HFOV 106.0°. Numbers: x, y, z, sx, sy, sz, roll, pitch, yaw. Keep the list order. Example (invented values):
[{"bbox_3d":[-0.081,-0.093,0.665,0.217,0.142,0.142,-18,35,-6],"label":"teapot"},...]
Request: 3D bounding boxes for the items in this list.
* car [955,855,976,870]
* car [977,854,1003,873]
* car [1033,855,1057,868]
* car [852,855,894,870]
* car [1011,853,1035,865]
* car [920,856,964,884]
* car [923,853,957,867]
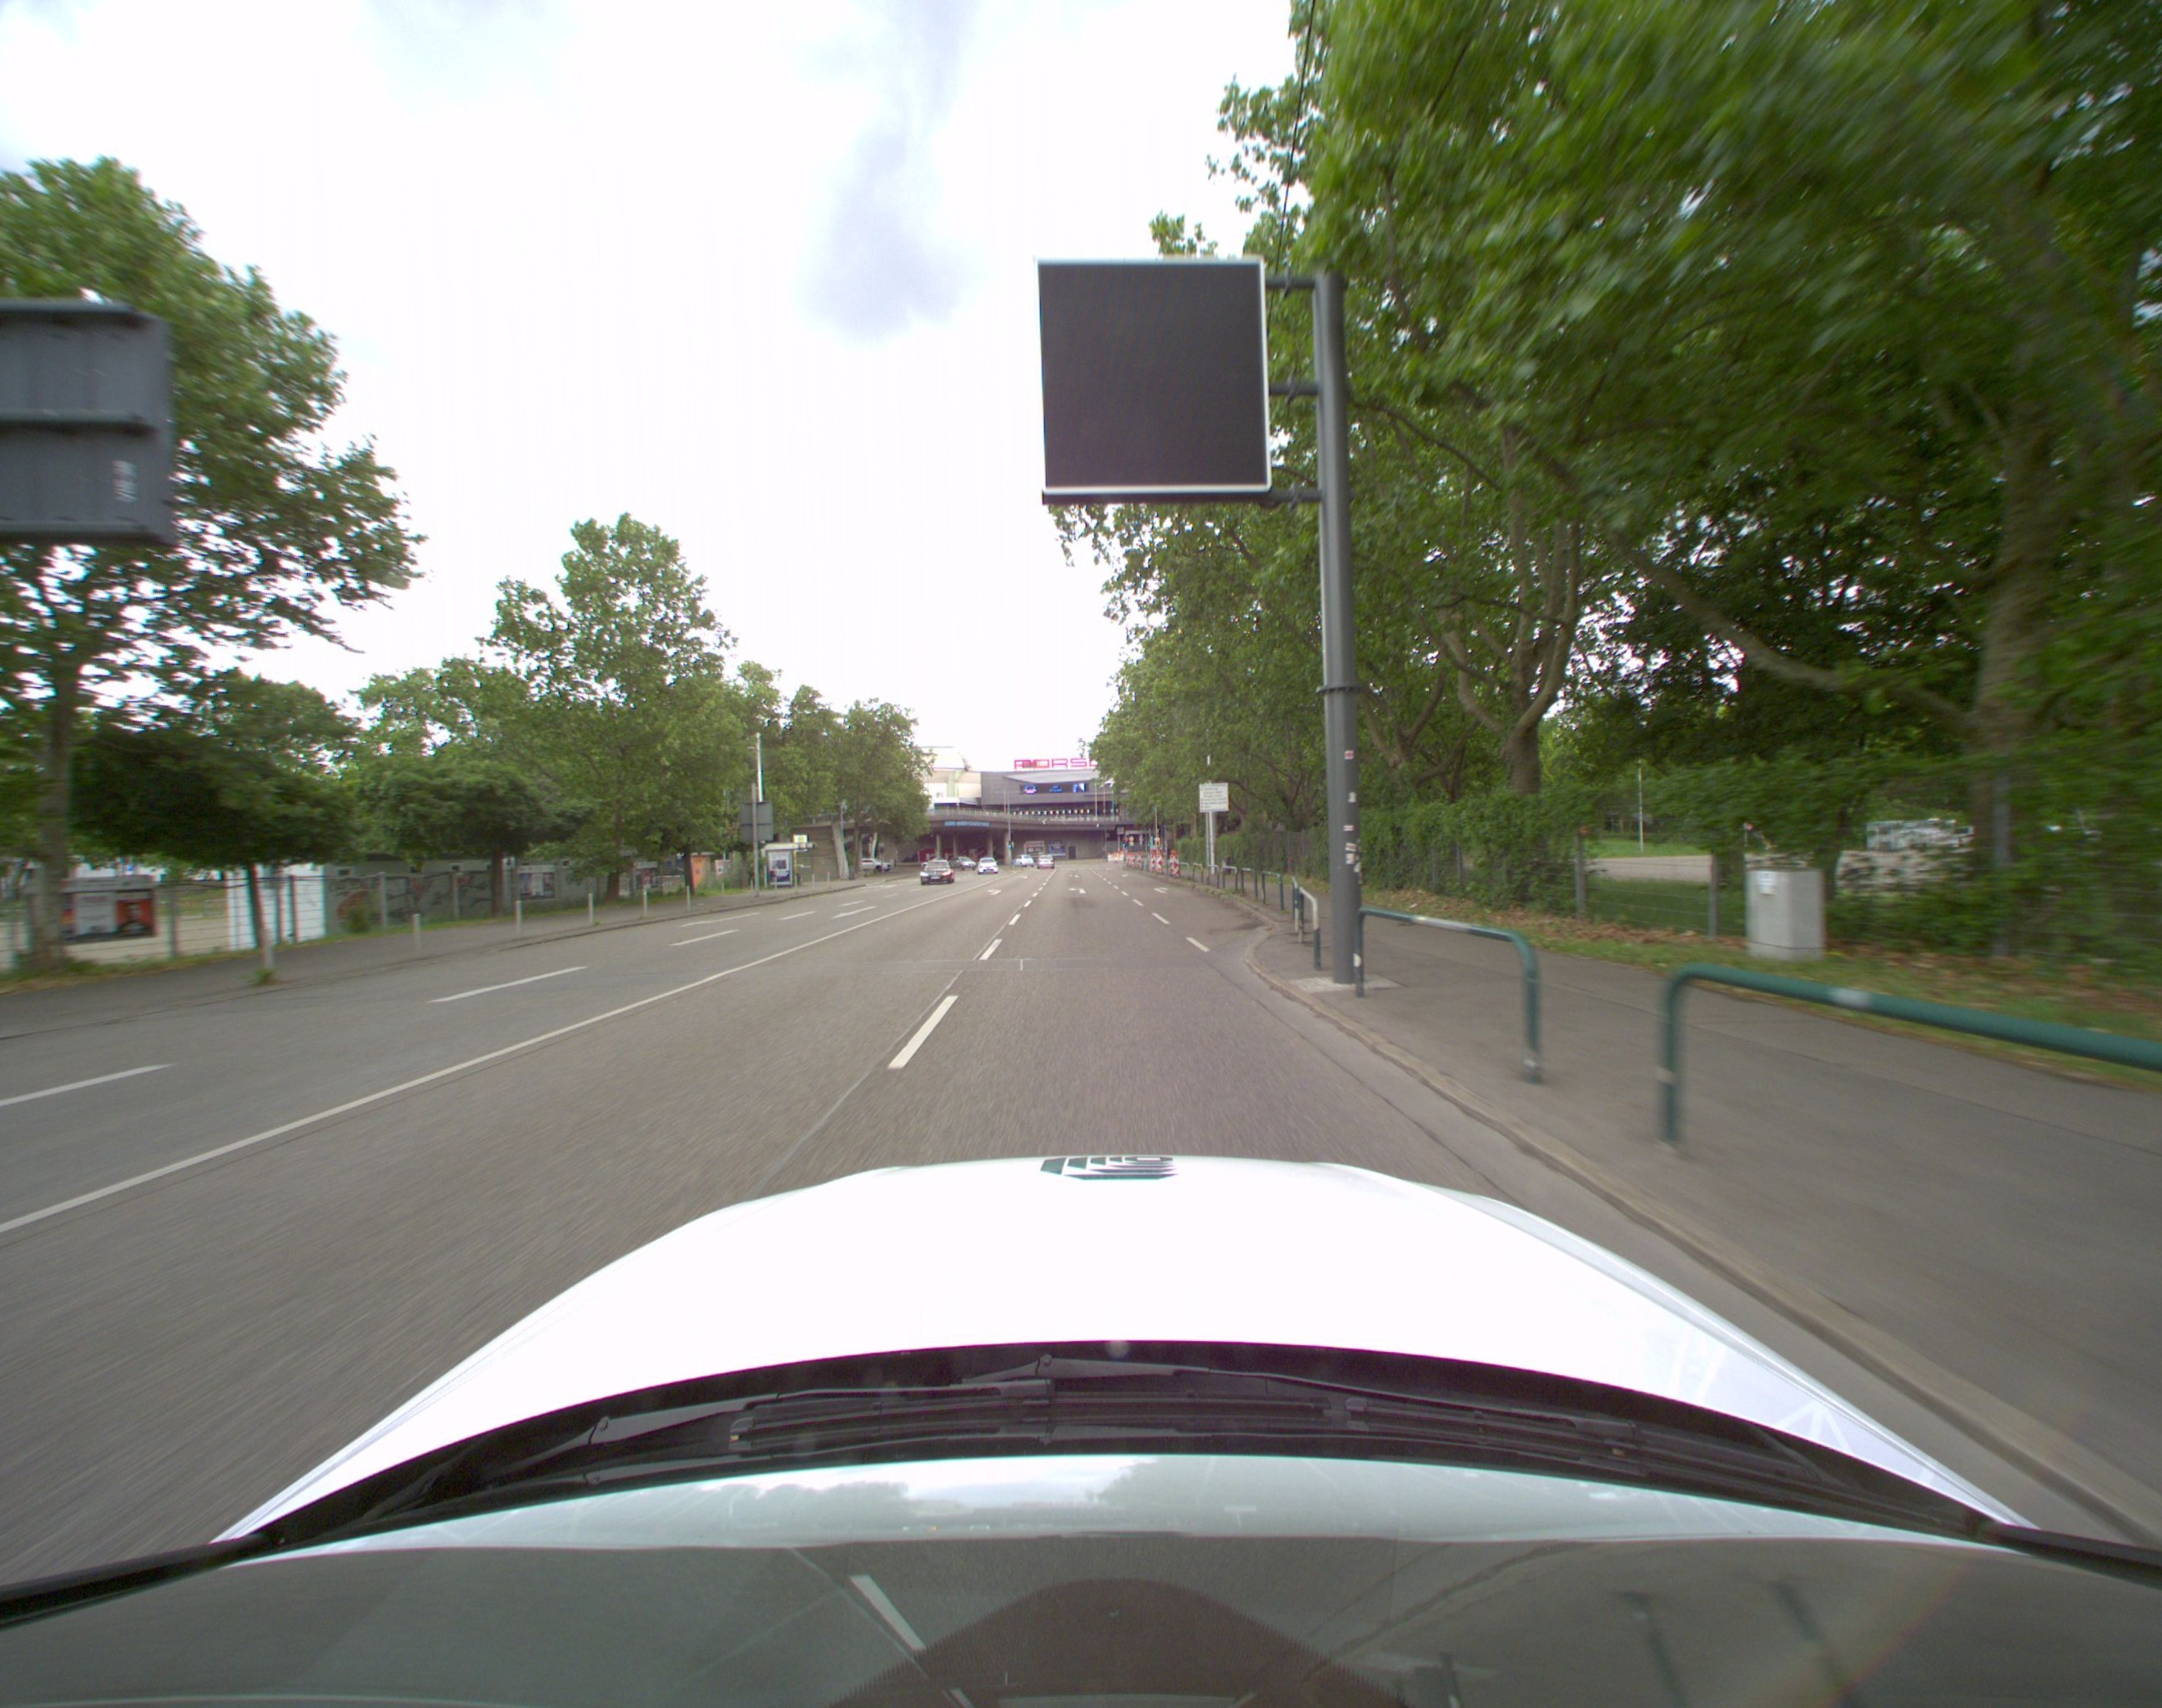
[{"bbox_3d":[-12.960,0.927,91.775,1.989,1.525,3.995,-1,0,-3],"label":"car"},{"bbox_3d":[-8.311,0.857,74.564,1.988,1.530,4.381,-3,0,-2],"label":"car"},{"bbox_3d":[-3.916,0.794,87.648,1.994,1.418,3.985,-1,0,-11],"label":"car"},{"bbox_3d":[-25.428,1.047,99.784,4.544,1.744,2.009,-1,0,17],"label":"car"},{"bbox_3d":[-7.069,0.620,99.269,1.621,1.313,3.362,-1,0,-31],"label":"car"},{"bbox_3d":[-8.555,0.937,50.571,1.988,1.530,4.722,-3,0,-2],"label":"car"},{"bbox_3d":[-18.942,0.806,109.689,3.959,1.660,2.007,-1,0,13],"label":"car"}]
